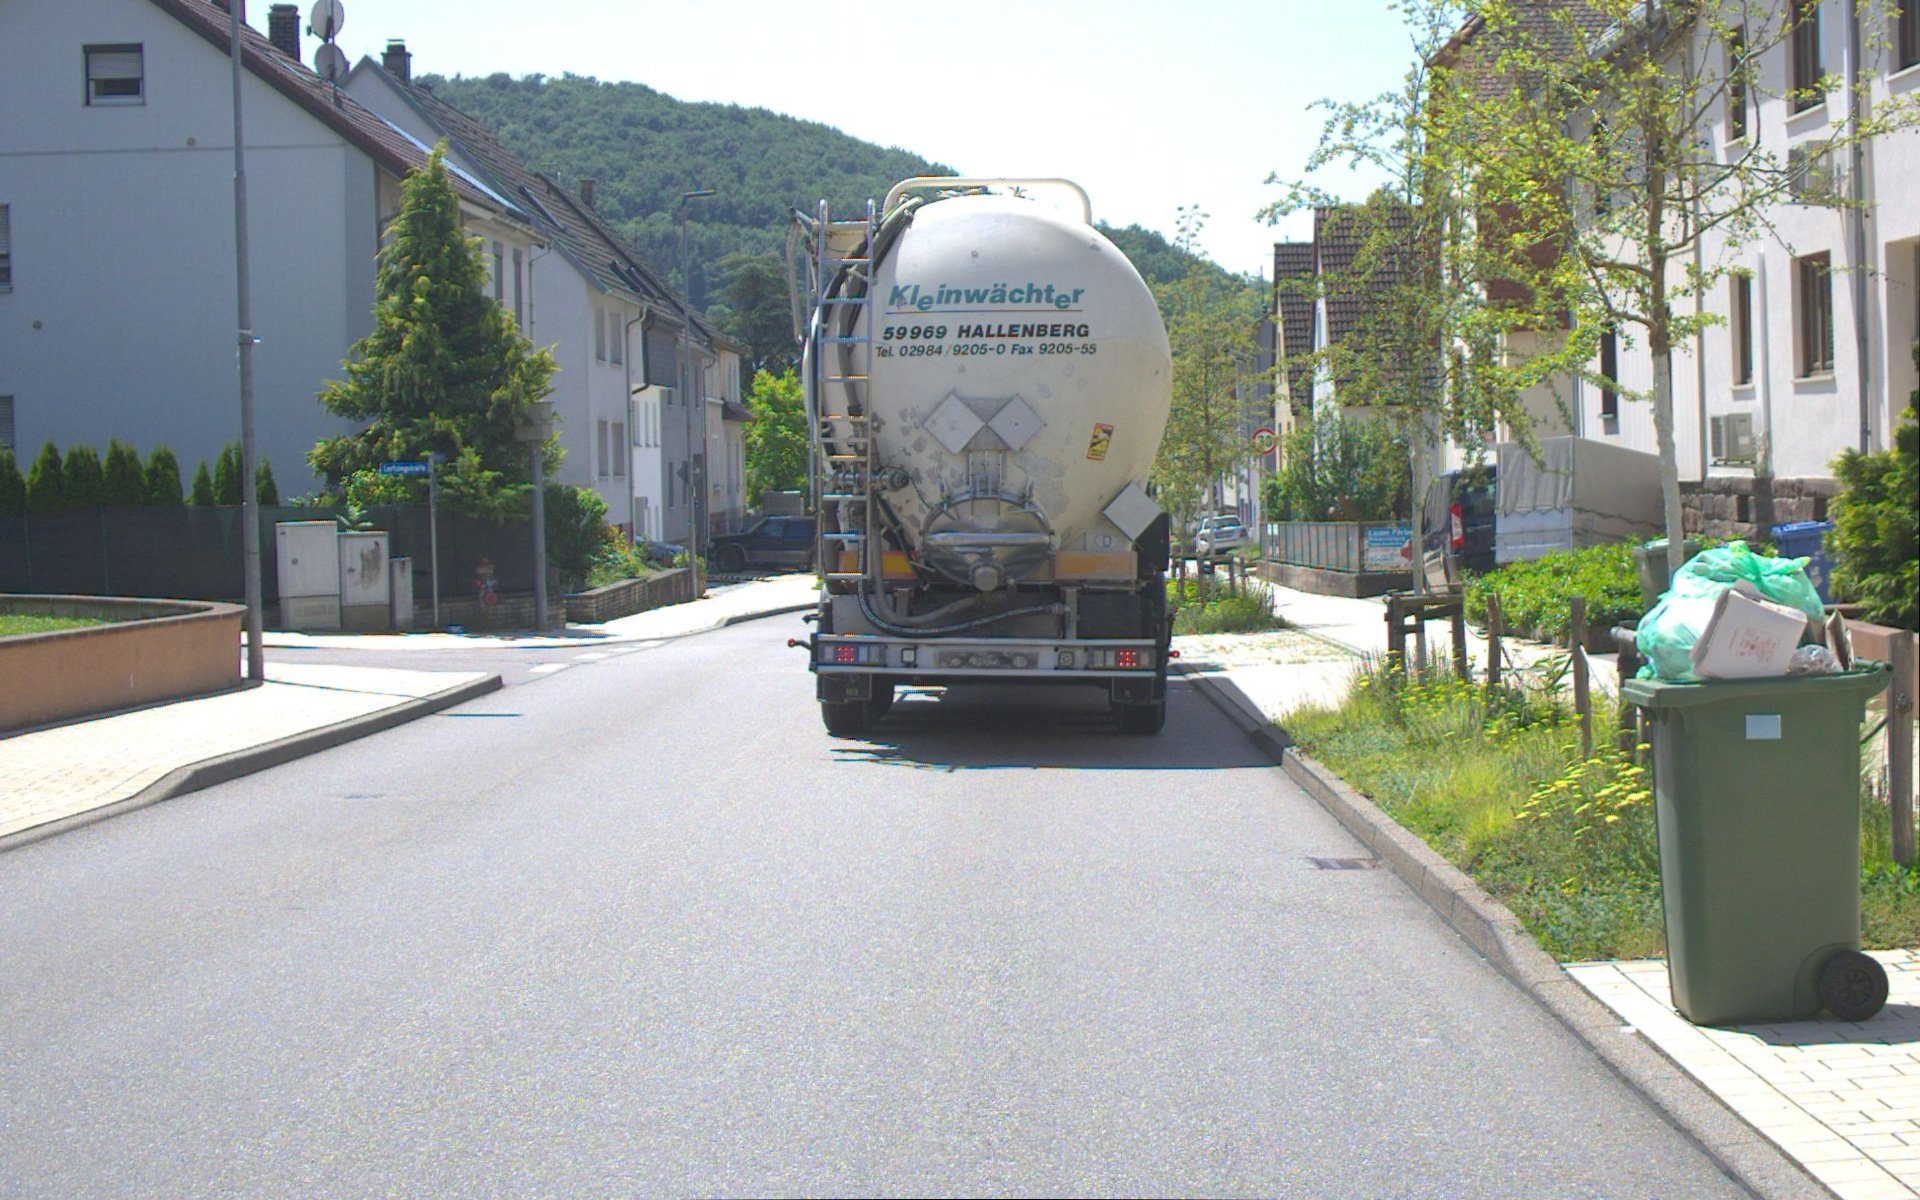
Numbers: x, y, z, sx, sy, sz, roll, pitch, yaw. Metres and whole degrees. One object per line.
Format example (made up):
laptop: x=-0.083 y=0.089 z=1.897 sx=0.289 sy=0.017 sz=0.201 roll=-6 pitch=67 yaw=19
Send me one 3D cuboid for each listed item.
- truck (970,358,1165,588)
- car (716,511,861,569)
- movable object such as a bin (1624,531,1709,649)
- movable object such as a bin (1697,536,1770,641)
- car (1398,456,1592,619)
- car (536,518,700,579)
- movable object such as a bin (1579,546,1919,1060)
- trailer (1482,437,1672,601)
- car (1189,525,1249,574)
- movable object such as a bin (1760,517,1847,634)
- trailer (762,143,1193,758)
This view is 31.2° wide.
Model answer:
truck: x=2.354 y=-2.880 z=79.946 sx=3.910 sy=4.879 sz=9.797 roll=-2 pitch=1 yaw=-1
car: x=-5.303 y=-1.871 z=106.772 sx=4.394 sy=1.744 sz=1.878 roll=0 pitch=1 yaw=1
movable object such as a bin: x=7.008 y=-0.107 z=34.139 sx=0.684 sy=1.111 sz=0.812 roll=-4 pitch=0 yaw=7
movable object such as a bin: x=7.704 y=-0.118 z=34.246 sx=0.558 sy=0.982 sz=0.802 roll=-5 pitch=0 yaw=8
car: x=7.420 y=-0.879 z=48.109 sx=1.852 sy=1.964 sz=4.773 roll=-6 pitch=1 yaw=1
car: x=-8.756 y=-1.323 z=88.250 sx=3.987 sy=1.540 sz=1.832 roll=0 pitch=1 yaw=2
movable object such as a bin: x=2.377 y=0.568 z=10.192 sx=0.792 sy=1.390 sz=0.925 roll=-5 pitch=1 yaw=-1
trailer: x=7.800 y=-1.016 z=43.403 sx=1.323 sy=2.007 sz=2.268 roll=1 pitch=2 yaw=44
car: x=8.777 y=-1.731 z=116.765 sx=1.791 sy=1.536 sz=4.519 roll=-4 pitch=1 yaw=3
movable object such as a bin: x=8.379 y=-0.246 z=34.178 sx=0.685 sy=1.102 sz=0.862 roll=-4 pitch=0 yaw=8
trailer: x=0.268 y=-1.106 z=27.514 sx=2.796 sy=3.987 sz=10.324 roll=0 pitch=2 yaw=2
